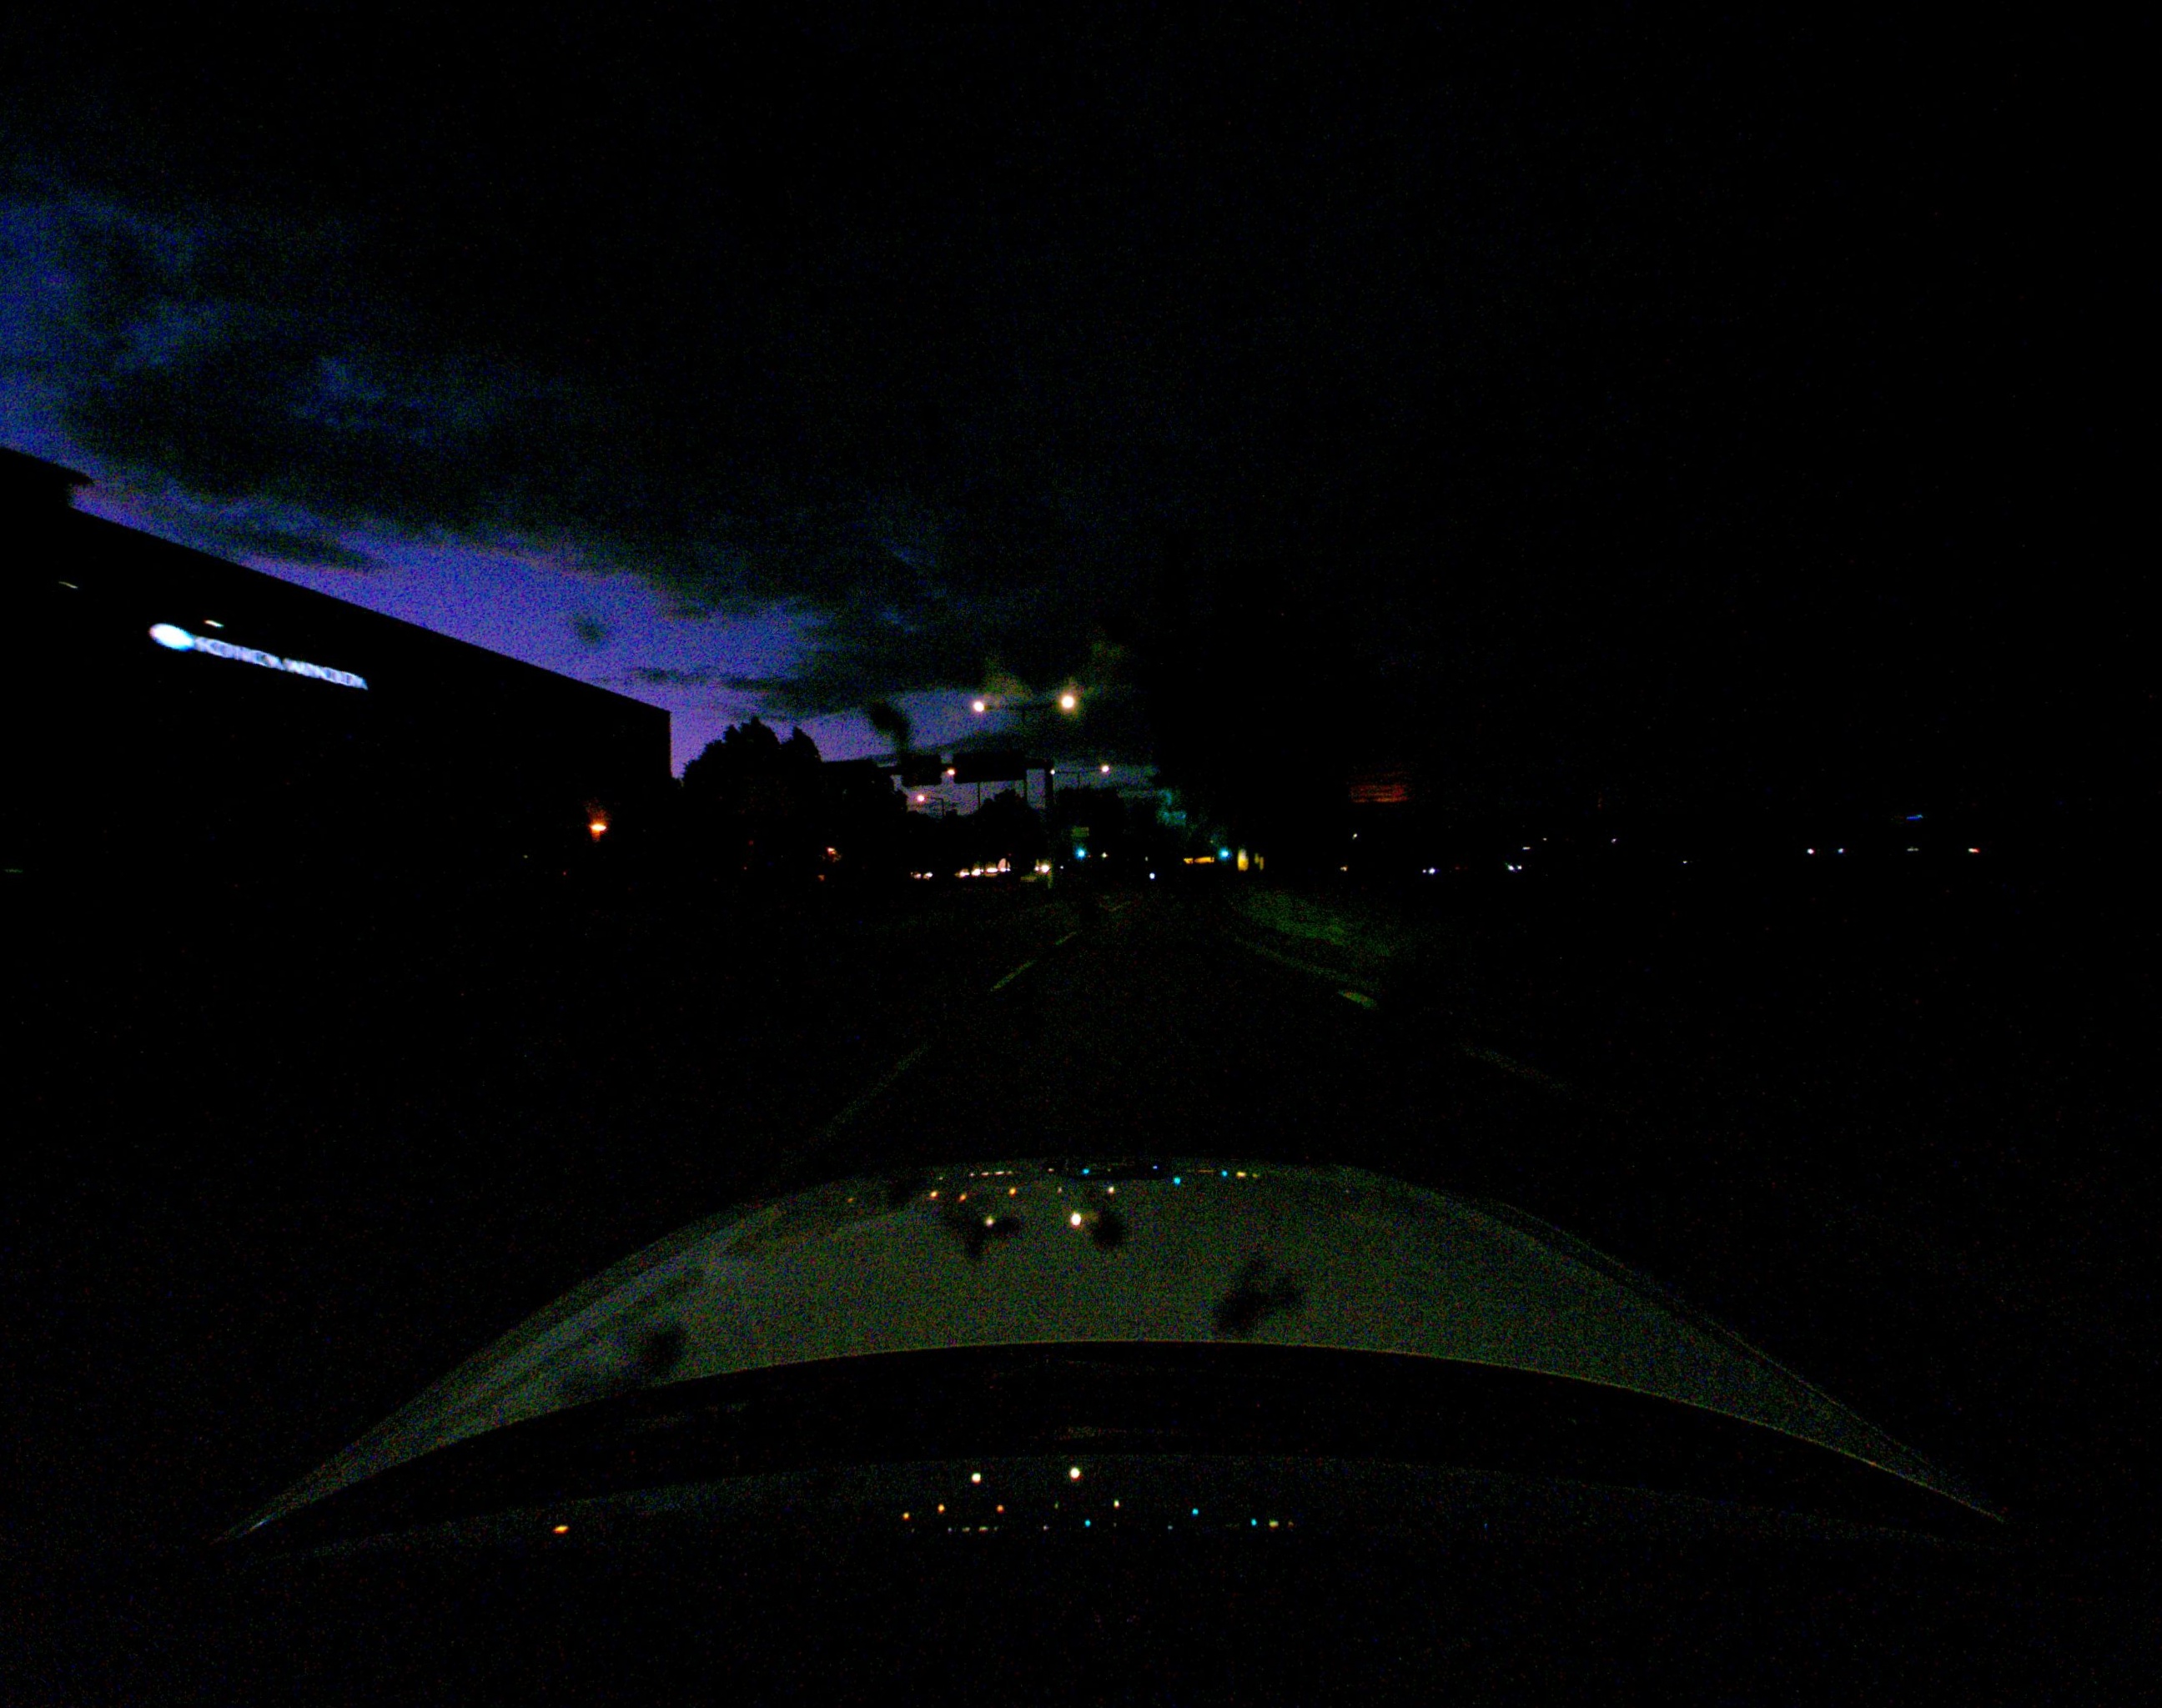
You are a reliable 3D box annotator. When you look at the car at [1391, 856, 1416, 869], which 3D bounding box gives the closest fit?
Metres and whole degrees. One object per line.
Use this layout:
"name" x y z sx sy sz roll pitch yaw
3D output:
"car" 53.740 1.451 135.517 4.018 2.013 1.978 -2 1 -36
